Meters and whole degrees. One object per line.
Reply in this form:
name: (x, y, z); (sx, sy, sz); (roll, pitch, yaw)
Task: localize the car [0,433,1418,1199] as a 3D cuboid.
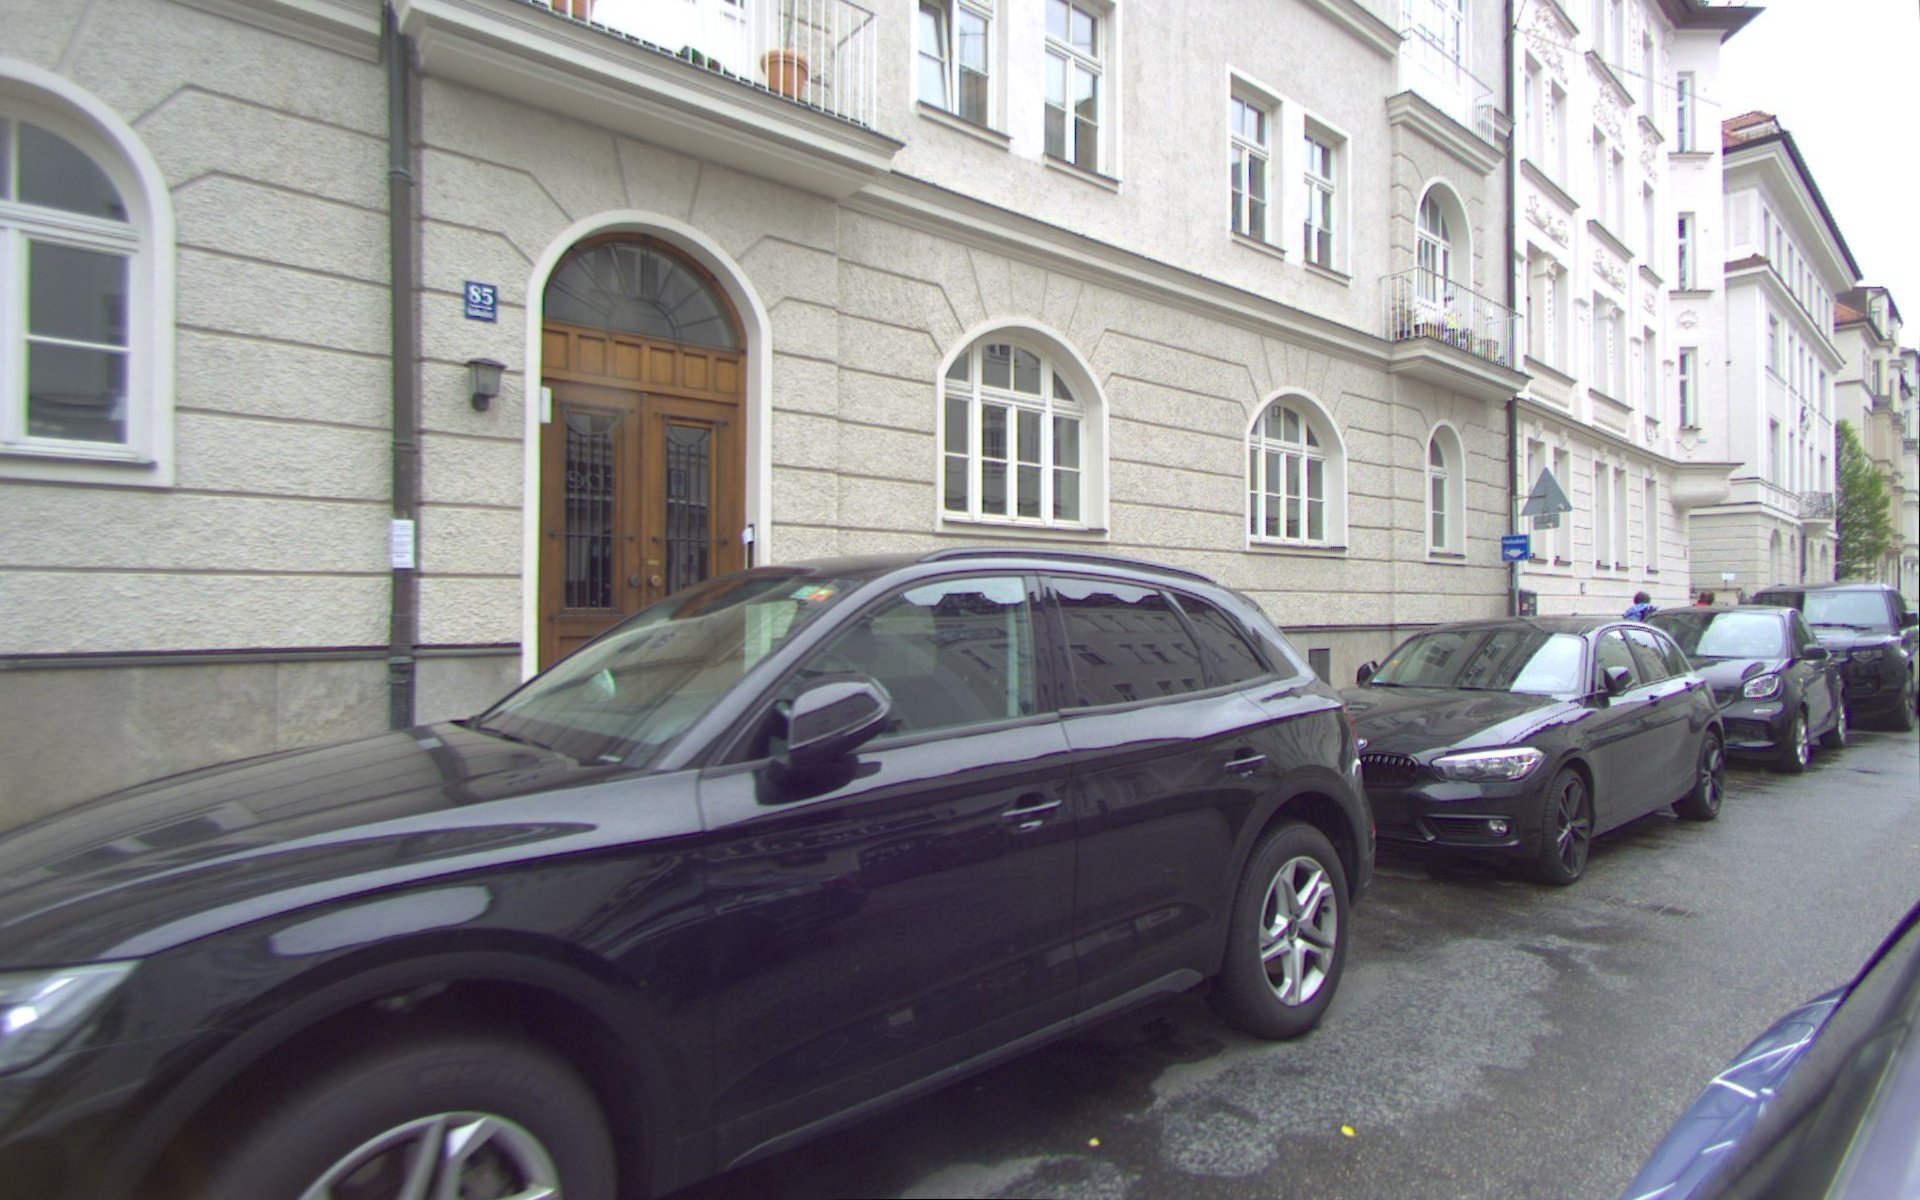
car: (-0.476, 0.624, 3.201); (4.296, 1.657, 1.780); (0, -2, -39)

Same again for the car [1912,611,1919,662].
car: (28.743, 1.015, 29.183); (3.933, 1.413, 1.613); (0, -2, -43)

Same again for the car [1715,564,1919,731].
car: (12.086, 0.581, 13.862); (4.633, 1.910, 1.912); (0, -3, -43)

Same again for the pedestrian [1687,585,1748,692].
pedestrian: (12.791, 0.630, 17.091); (0.692, 1.750, 0.703); (1, 0, -44)

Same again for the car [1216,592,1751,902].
car: (3.703, 0.717, 6.840); (4.125, 1.489, 1.710); (1, 0, -39)

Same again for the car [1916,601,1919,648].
car: (32.796, 0.787, 33.378); (1.708, 1.520, 3.935); (-1, -1, 45)

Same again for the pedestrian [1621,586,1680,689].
pedestrian: (11.881, 0.625, 17.420); (0.643, 1.695, 0.680); (1, 1, -44)

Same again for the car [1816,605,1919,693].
car: (16.584, 0.805, 17.869); (3.518, 1.413, 1.666); (0, -2, -40)

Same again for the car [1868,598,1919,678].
car: (20.697, 0.780, 21.561); (3.934, 1.608, 1.708); (1, -2, -44)

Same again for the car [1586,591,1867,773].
car: (7.990, 0.722, 10.452); (3.574, 1.545, 1.657); (1, -1, -42)
